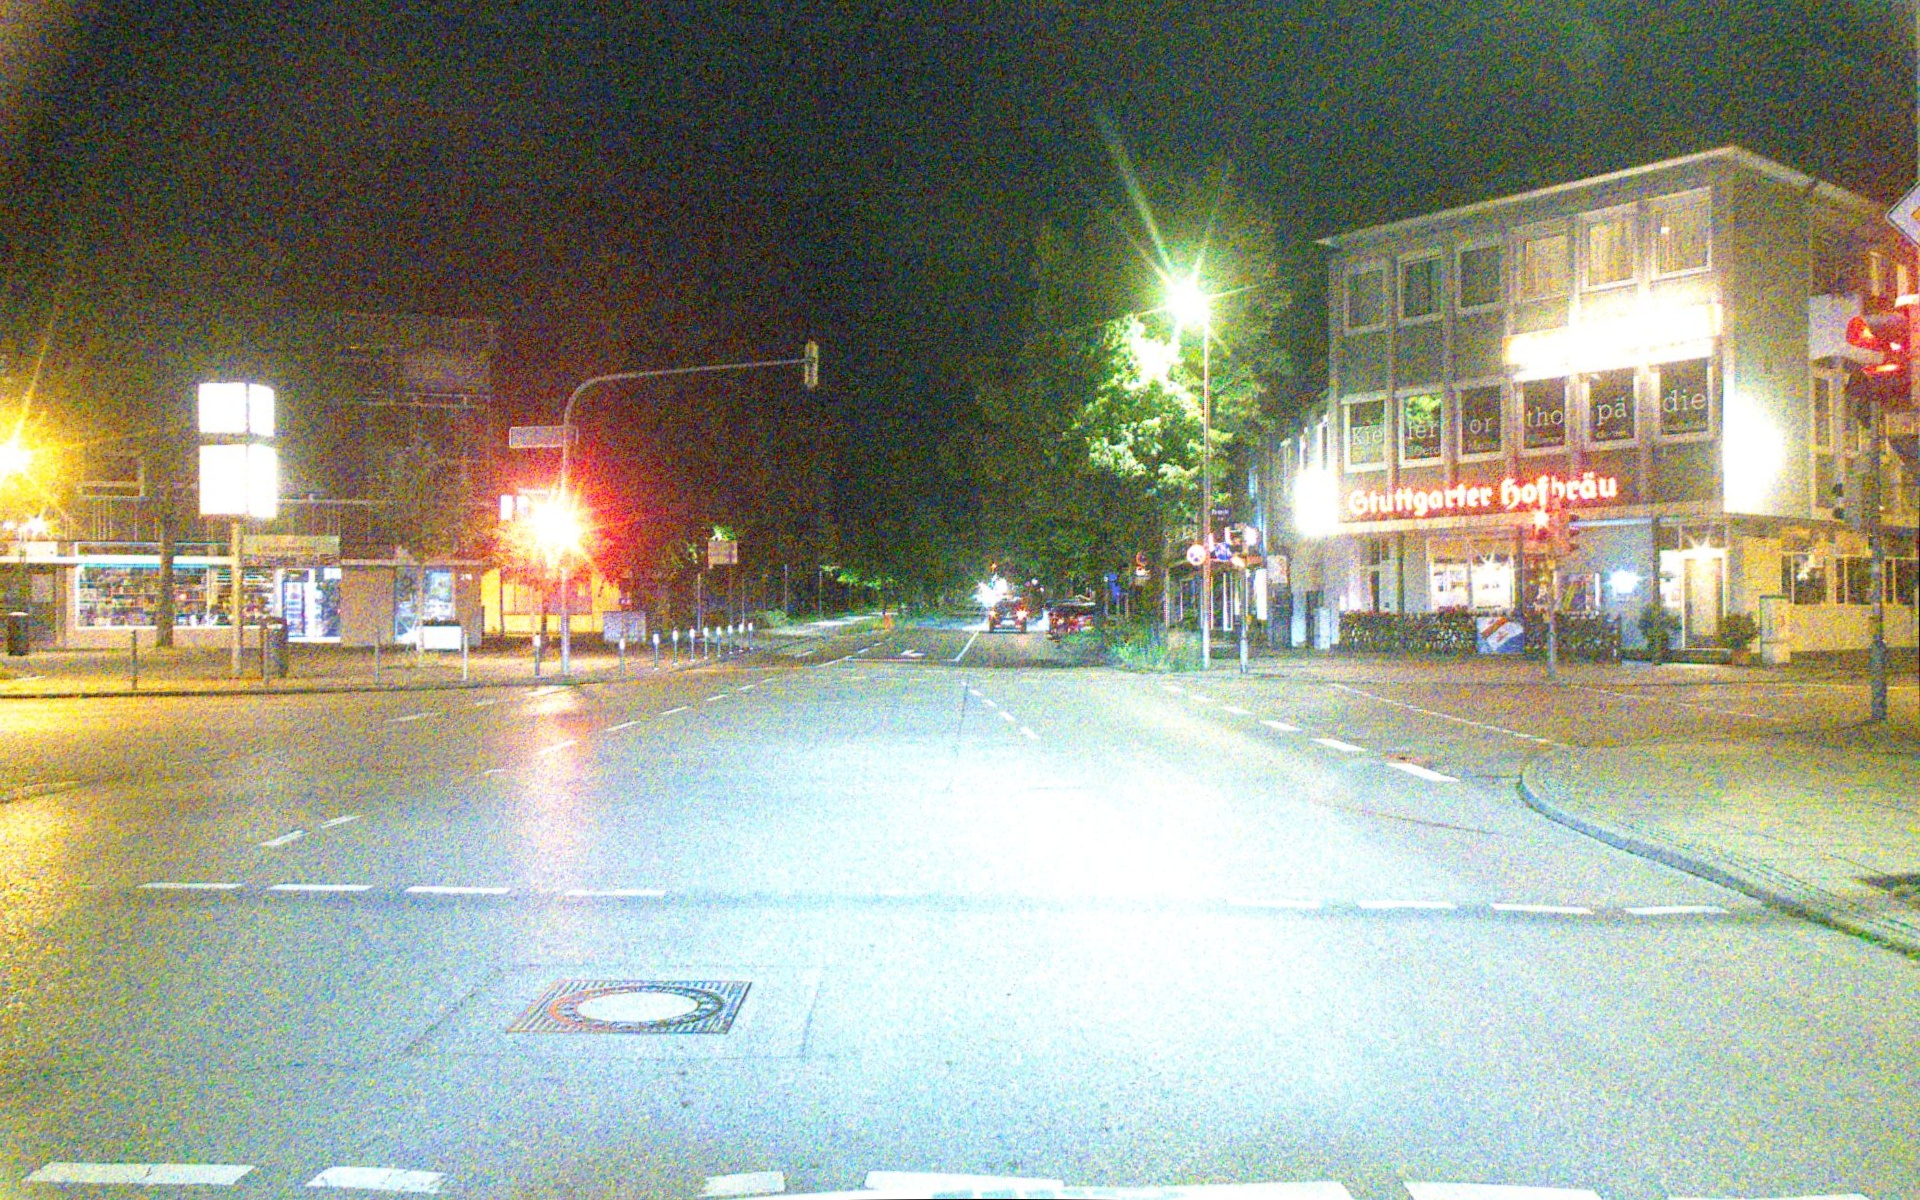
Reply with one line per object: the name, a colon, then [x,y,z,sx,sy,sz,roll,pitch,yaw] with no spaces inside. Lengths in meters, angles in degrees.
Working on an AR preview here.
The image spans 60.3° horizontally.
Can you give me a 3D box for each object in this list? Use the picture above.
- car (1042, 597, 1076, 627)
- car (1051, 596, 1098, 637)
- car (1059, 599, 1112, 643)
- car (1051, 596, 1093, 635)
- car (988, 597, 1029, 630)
car: [5.666,0.674,94.573,1.837,1.713,4.001,0,0,2]
car: [4.731,0.682,68.856,1.837,1.643,4.001,0,0,2]
car: [4.795,0.790,63.584,1.837,1.643,4.001,0,0,2]
car: [5.155,0.712,76.533,1.837,1.759,4.001,0,0,2]
car: [2.288,0.621,77.725,1.834,1.479,4.318,1,0,2]
